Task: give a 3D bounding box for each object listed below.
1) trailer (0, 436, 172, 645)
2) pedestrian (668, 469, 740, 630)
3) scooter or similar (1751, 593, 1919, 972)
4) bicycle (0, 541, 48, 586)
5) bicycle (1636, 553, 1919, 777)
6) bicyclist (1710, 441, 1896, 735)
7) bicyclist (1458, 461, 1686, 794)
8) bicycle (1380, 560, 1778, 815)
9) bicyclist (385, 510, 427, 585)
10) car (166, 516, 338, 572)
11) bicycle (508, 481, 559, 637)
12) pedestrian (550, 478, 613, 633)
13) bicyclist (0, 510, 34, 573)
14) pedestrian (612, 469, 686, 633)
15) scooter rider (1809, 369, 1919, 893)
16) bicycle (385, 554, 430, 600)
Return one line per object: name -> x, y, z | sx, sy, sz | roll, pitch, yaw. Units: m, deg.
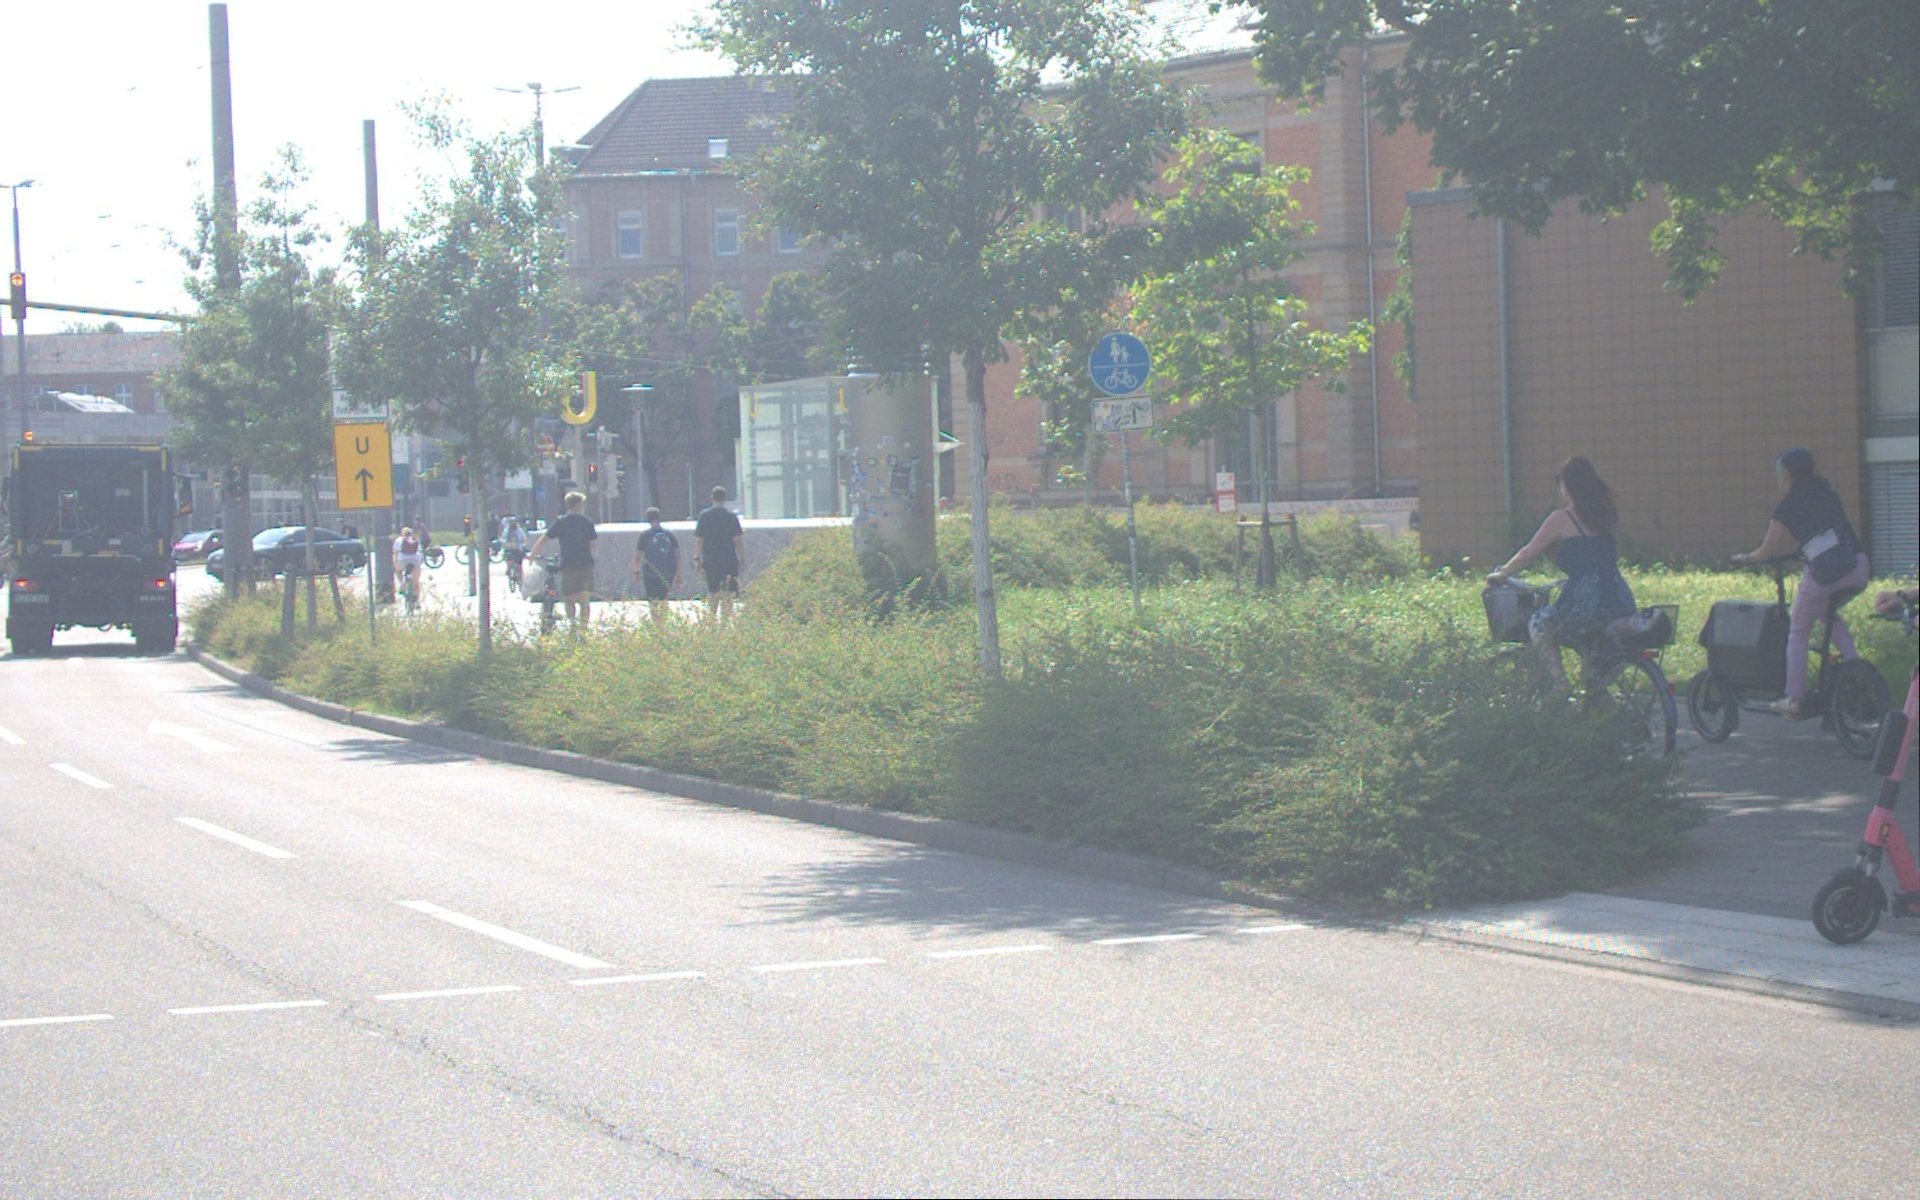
trailer -> -13.326, -0.934, 52.546 | 2.462, 2.997, 6.327 | 0, 1, -13
pedestrian -> -3.183, -0.632, 42.833 | 0.778, 1.966, 0.754 | -2, 2, 0
scooter or similar -> 3.501, 0.594, 11.837 | 1.363, 1.230, 0.585 | -3, 2, -2
bicycle -> -24.928, -0.962, 90.594 | 0.697, 1.133, 2.042 | -1, 2, 17
bicycle -> 4.398, 0.318, 18.509 | 0.556, 1.056, 2.005 | -4, 3, -18
bicyclist -> 4.462, -0.076, 18.226 | 0.548, 1.491, 0.804 | -4, 3, -18
bicyclist -> 3.091, 0.125, 17.393 | 0.690, 1.593, 0.844 | -5, 3, -25
bicycle -> 3.089, 0.401, 17.446 | 0.693, 1.151, 2.372 | -4, 3, -25
bicyclist -> -9.954, -0.948, 61.797 | 0.674, 1.315, 0.684 | -2, 2, -12
car -> -20.058, -1.610, 97.596 | 1.998, 1.433, 4.555 | -1, 2, 37
bicycle -> -5.177, -0.513, 41.819 | 0.455, 1.853, 1.363 | -2, 2, -3
pedestrian -> -4.633, -0.553, 42.098 | 0.660, 1.853, 0.793 | -2, 1, -2
bicyclist -> -24.918, -1.548, 90.646 | 0.691, 1.644, 0.619 | -1, 2, 17
pedestrian -> -3.798, -0.609, 42.051 | 0.778, 1.966, 0.754 | -2, 2, 0
scooter rider -> 3.435, 0.078, 11.767 | 0.802, 1.733, 0.689 | -3, 2, -2
bicycle -> -9.946, -0.420, 61.853 | 0.674, 0.774, 2.128 | -2, 2, -12
